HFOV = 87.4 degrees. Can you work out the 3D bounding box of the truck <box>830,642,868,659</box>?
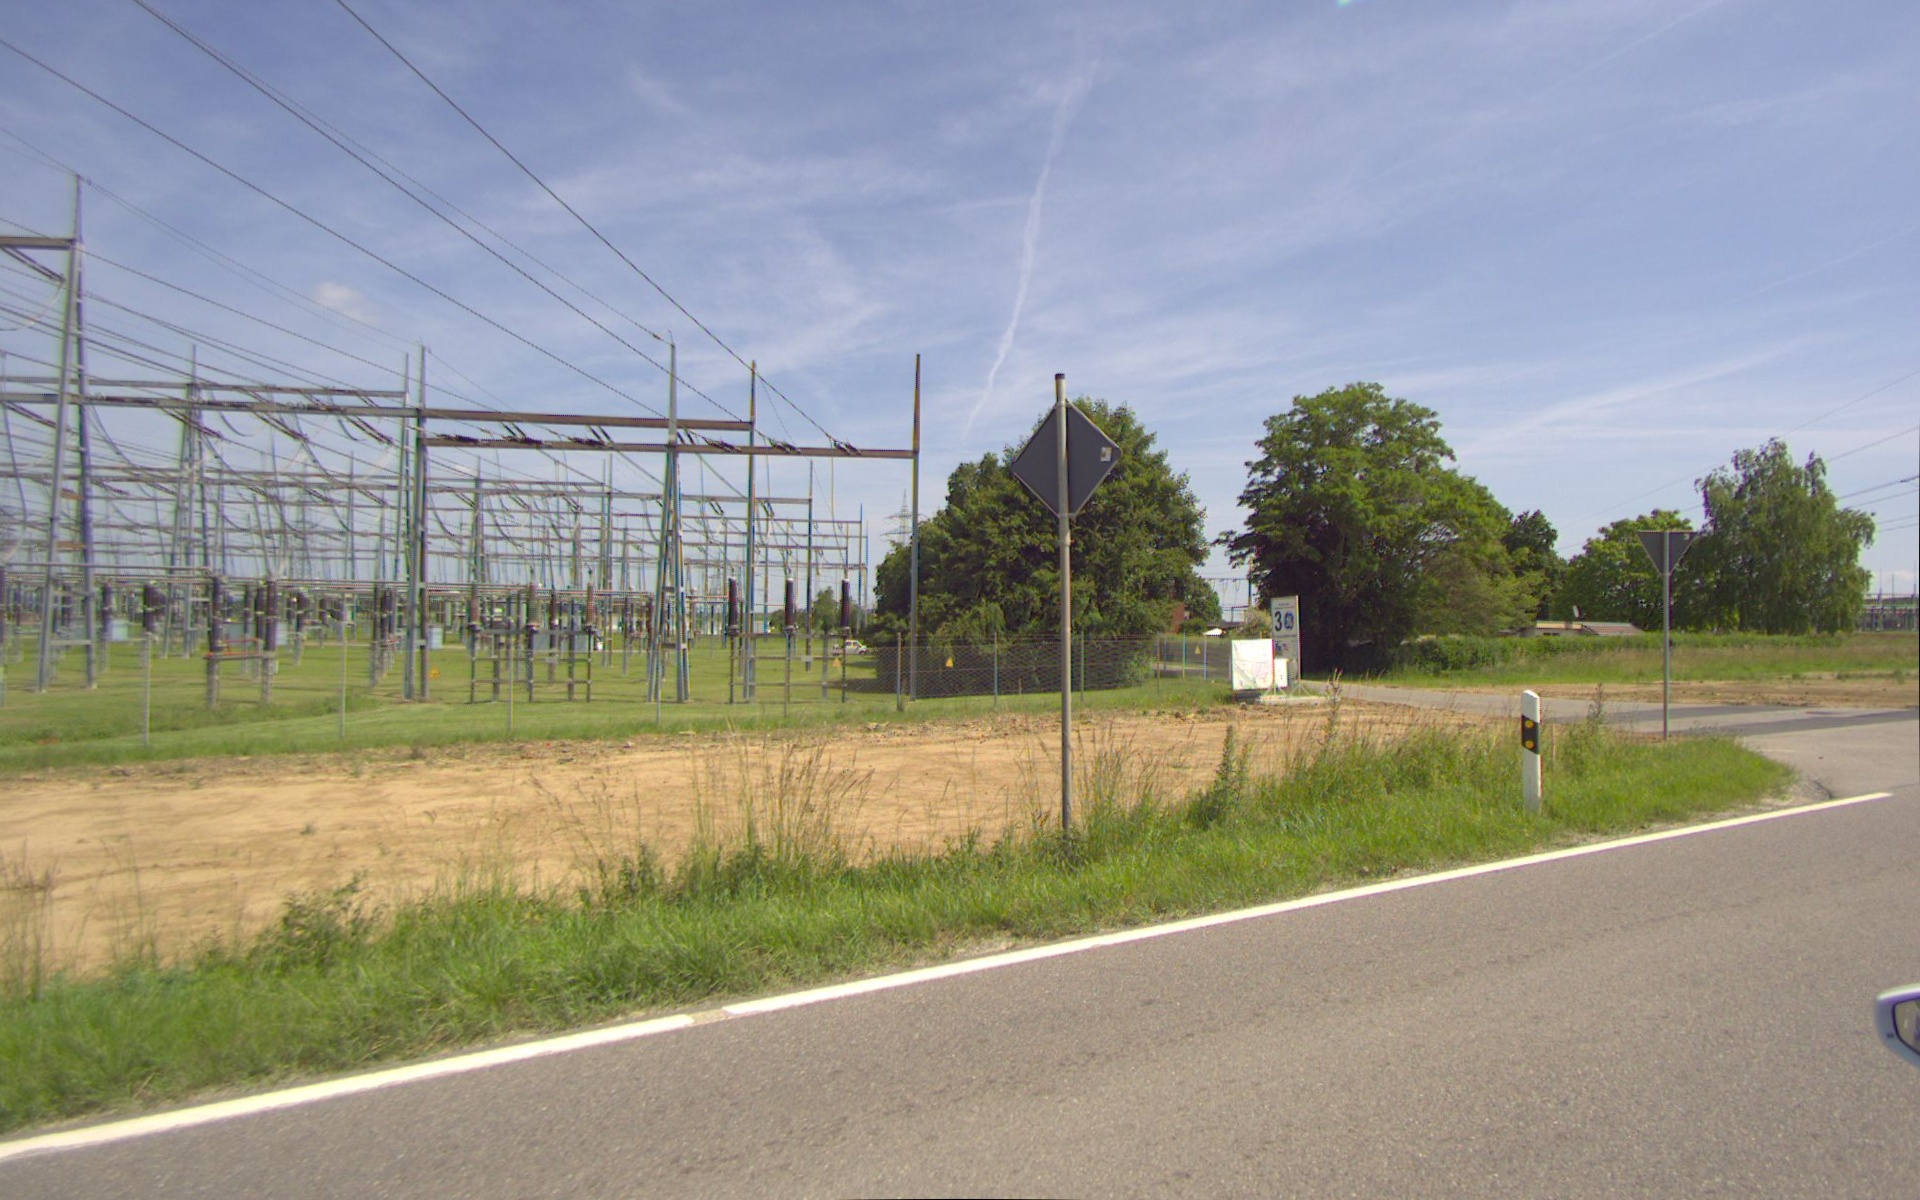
[{"bbox_3d":[-13.904,6.329,126.096,4.705,1.996,1.868,2,0,-5],"label":"truck"}]
